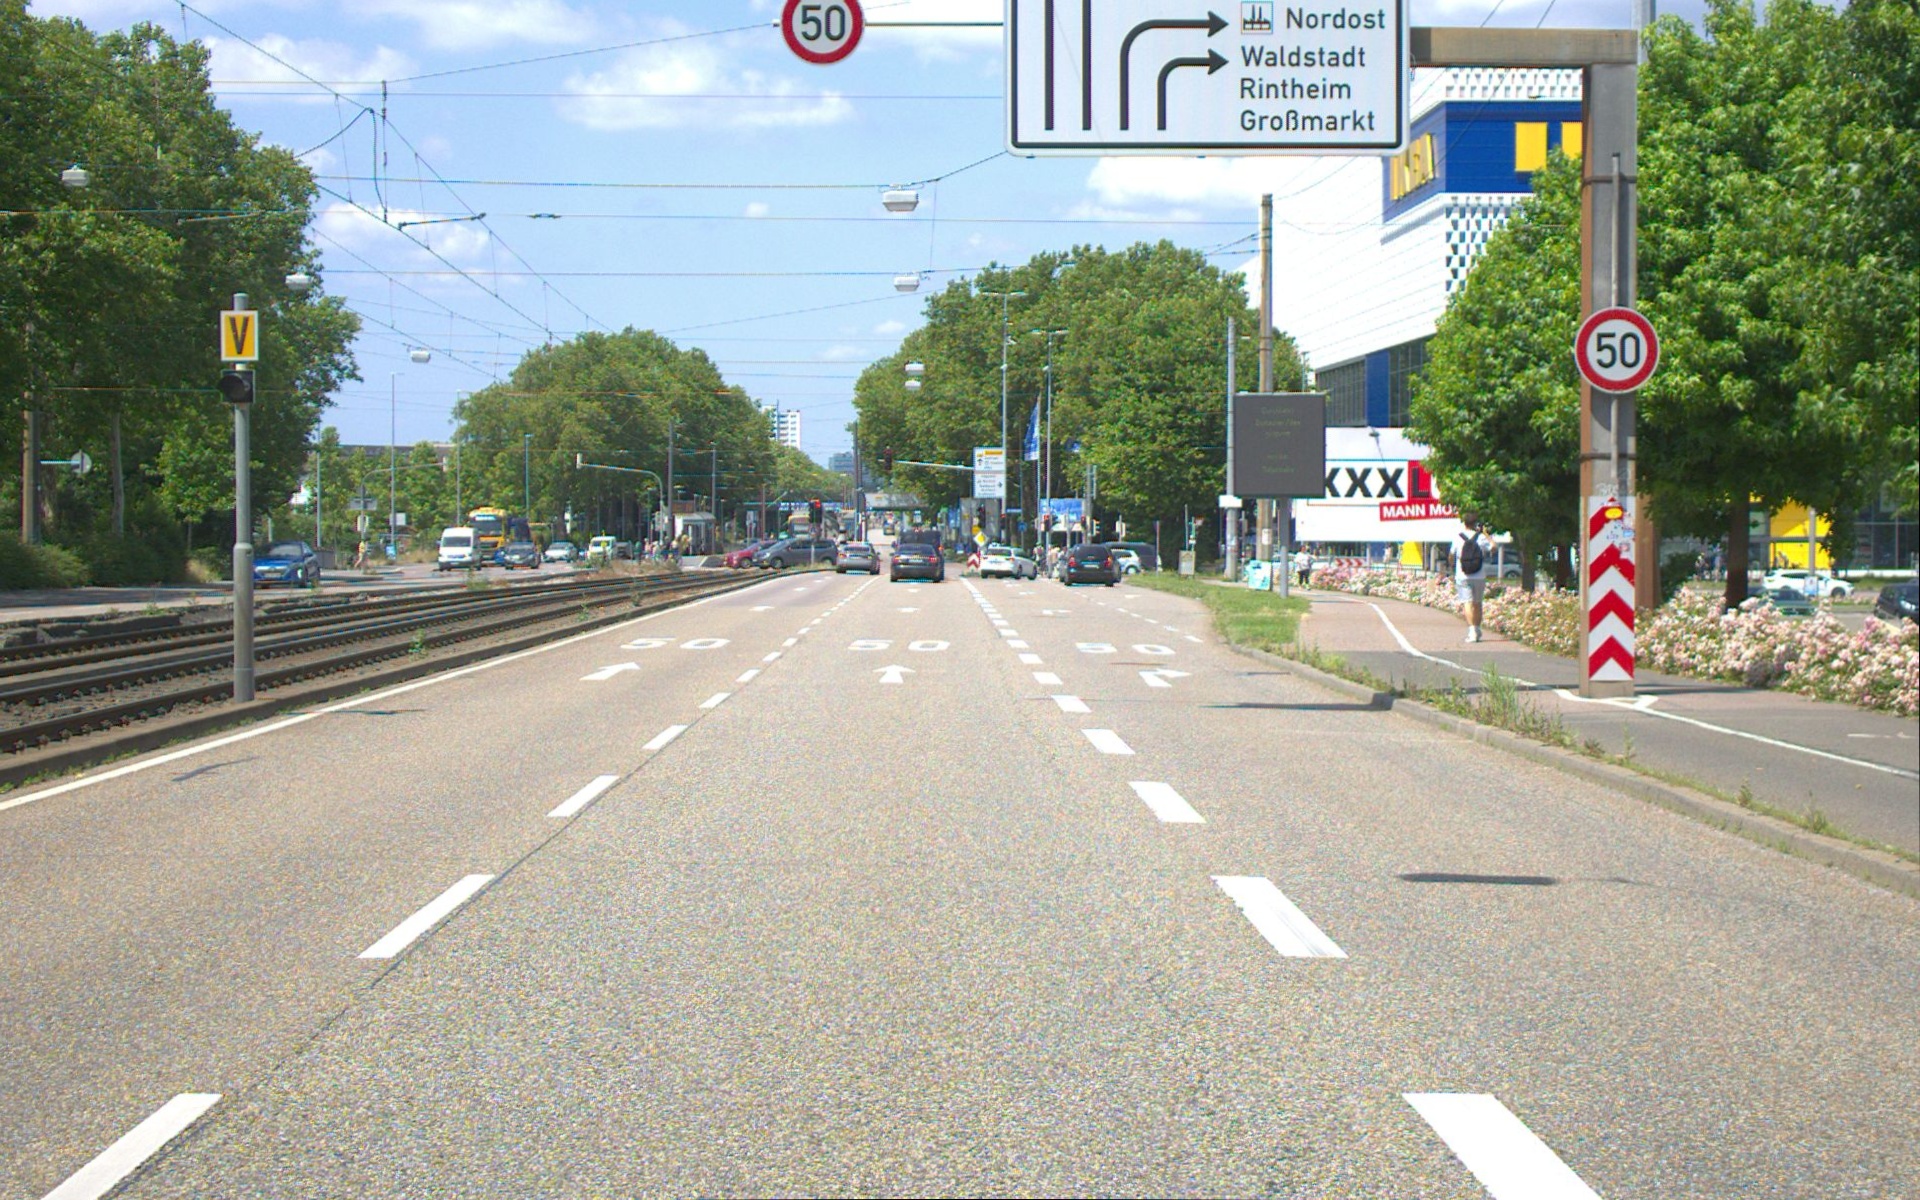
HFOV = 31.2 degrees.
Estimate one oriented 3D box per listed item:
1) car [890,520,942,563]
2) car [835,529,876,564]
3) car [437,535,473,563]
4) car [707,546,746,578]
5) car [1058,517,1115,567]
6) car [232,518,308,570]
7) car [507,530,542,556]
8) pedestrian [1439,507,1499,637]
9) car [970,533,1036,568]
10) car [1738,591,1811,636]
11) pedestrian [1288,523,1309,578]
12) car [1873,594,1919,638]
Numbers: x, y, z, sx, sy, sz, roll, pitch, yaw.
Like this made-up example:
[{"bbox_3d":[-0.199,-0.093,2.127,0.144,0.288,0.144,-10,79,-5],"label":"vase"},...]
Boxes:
[{"bbox_3d":[-1.651,-2.179,127.499,1.876,1.534,3.777,2,1,-1],"label":"car"},{"bbox_3d":[-4.893,-2.508,160.553,1.842,1.544,3.777,2,1,-2],"label":"car"},{"bbox_3d":[-29.906,-3.025,203.564,1.623,1.544,3.704,2,1,-1],"label":"car"},{"bbox_3d":[-12.034,-1.955,177.438,1.842,1.544,3.777,2,1,-2],"label":"car"},{"bbox_3d":[4.698,-2.180,128.241,1.899,1.799,3.977,2,1,0],"label":"car"},{"bbox_3d":[-21.222,-1.742,105.827,1.644,1.545,4.217,1,1,-3],"label":"car"},{"bbox_3d":[-26.181,-3.436,206.847,1.623,1.544,3.704,2,1,-1],"label":"car"},{"bbox_3d":[7.162,-0.399,48.387,0.669,1.786,0.924,2,1,1],"label":"pedestrian"},{"bbox_3d":[2.004,-2.286,158.829,1.687,1.544,3.979,2,1,22],"label":"car"},{"bbox_3d":[29.715,0.474,125.501,1.571,1.477,3.889,2,1,-2],"label":"car"},{"bbox_3d":[11.170,-1.647,113.491,0.580,1.786,0.590,1,1,-3],"label":"pedestrian"},{"bbox_3d":[35.194,0.601,127.304,1.571,1.477,3.889,2,1,-2],"label":"car"}]
